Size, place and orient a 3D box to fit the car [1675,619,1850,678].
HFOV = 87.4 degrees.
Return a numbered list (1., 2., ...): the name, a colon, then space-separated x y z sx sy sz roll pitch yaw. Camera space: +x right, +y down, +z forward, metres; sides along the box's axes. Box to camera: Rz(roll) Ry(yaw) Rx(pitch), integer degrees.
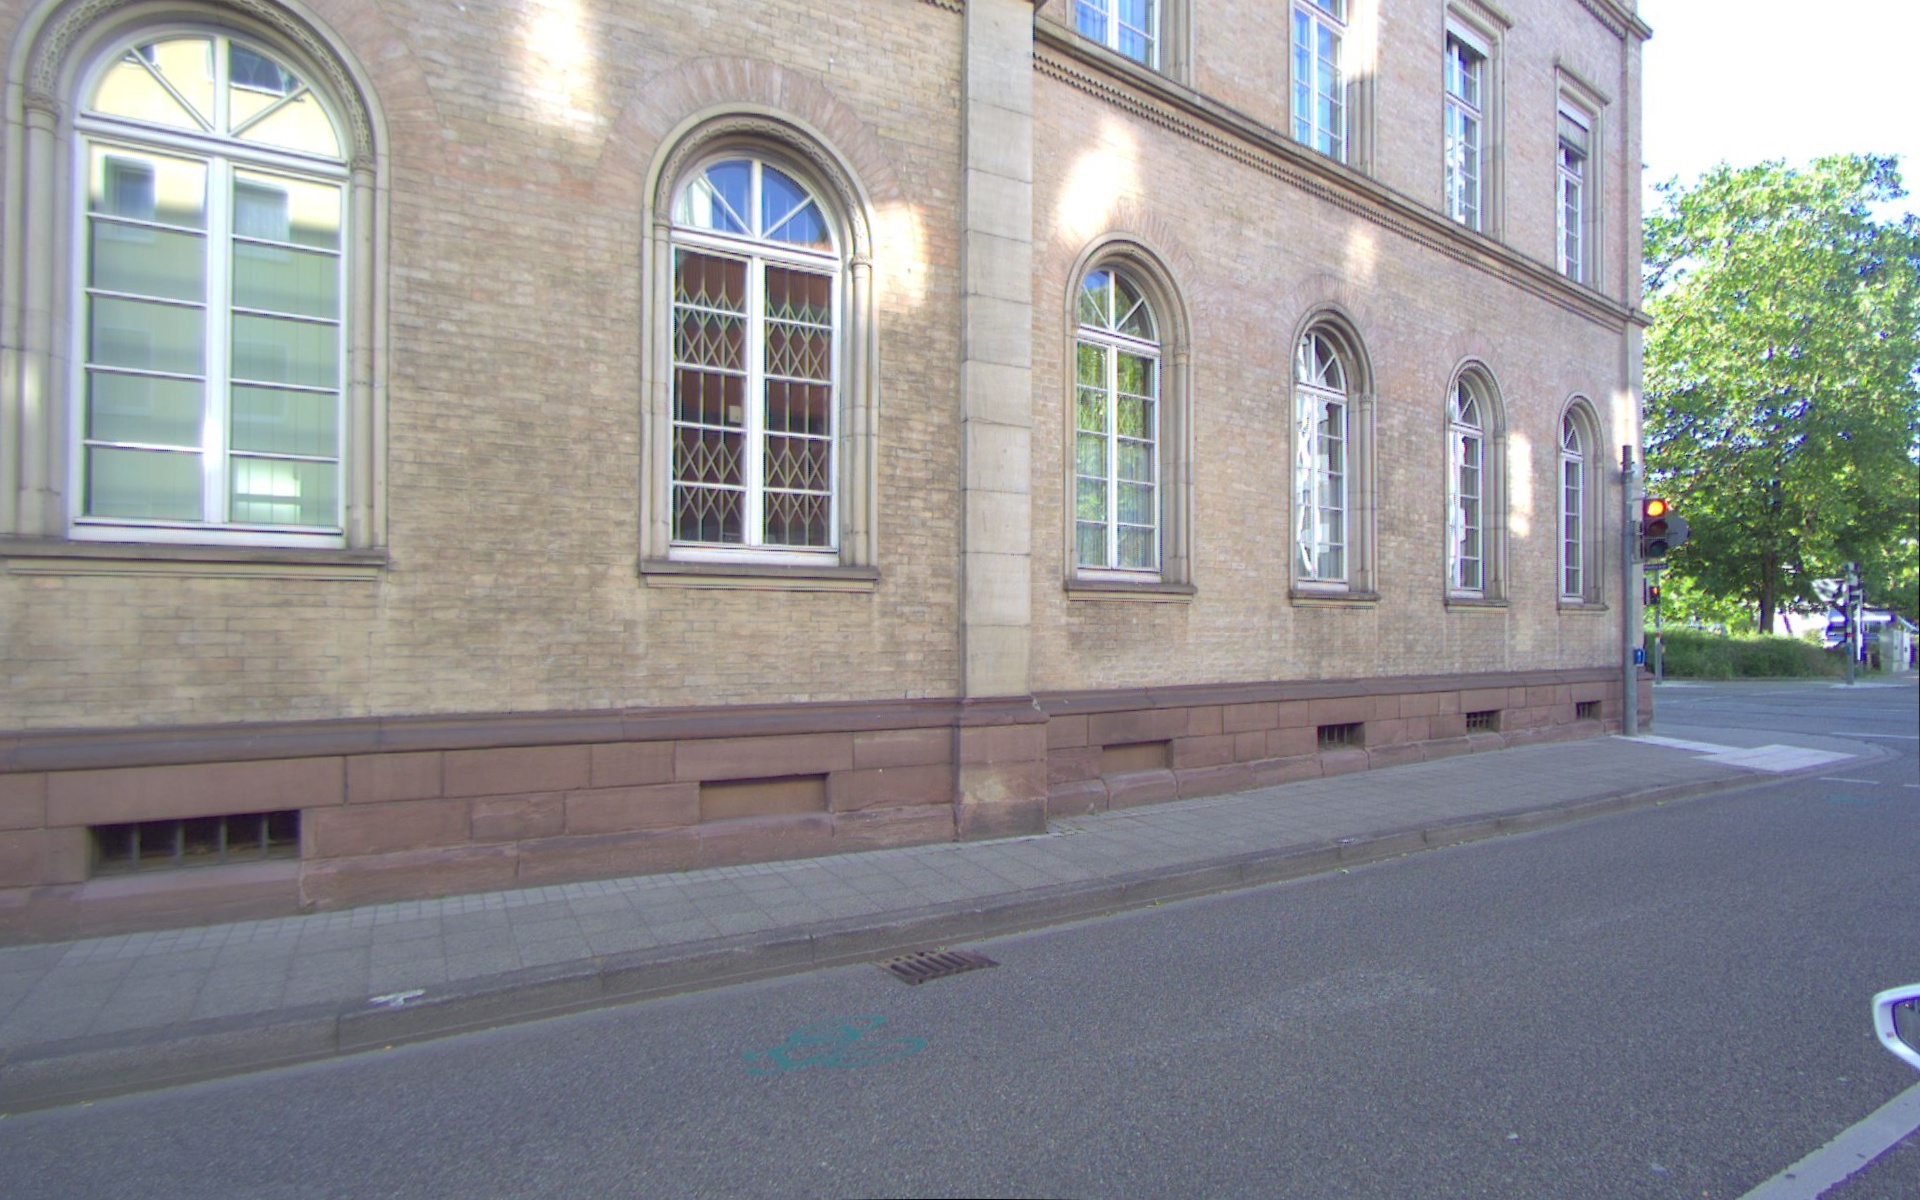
1. car: 26.365 1.551 33.121 1.888 1.801 4.193 1 -2 -37
